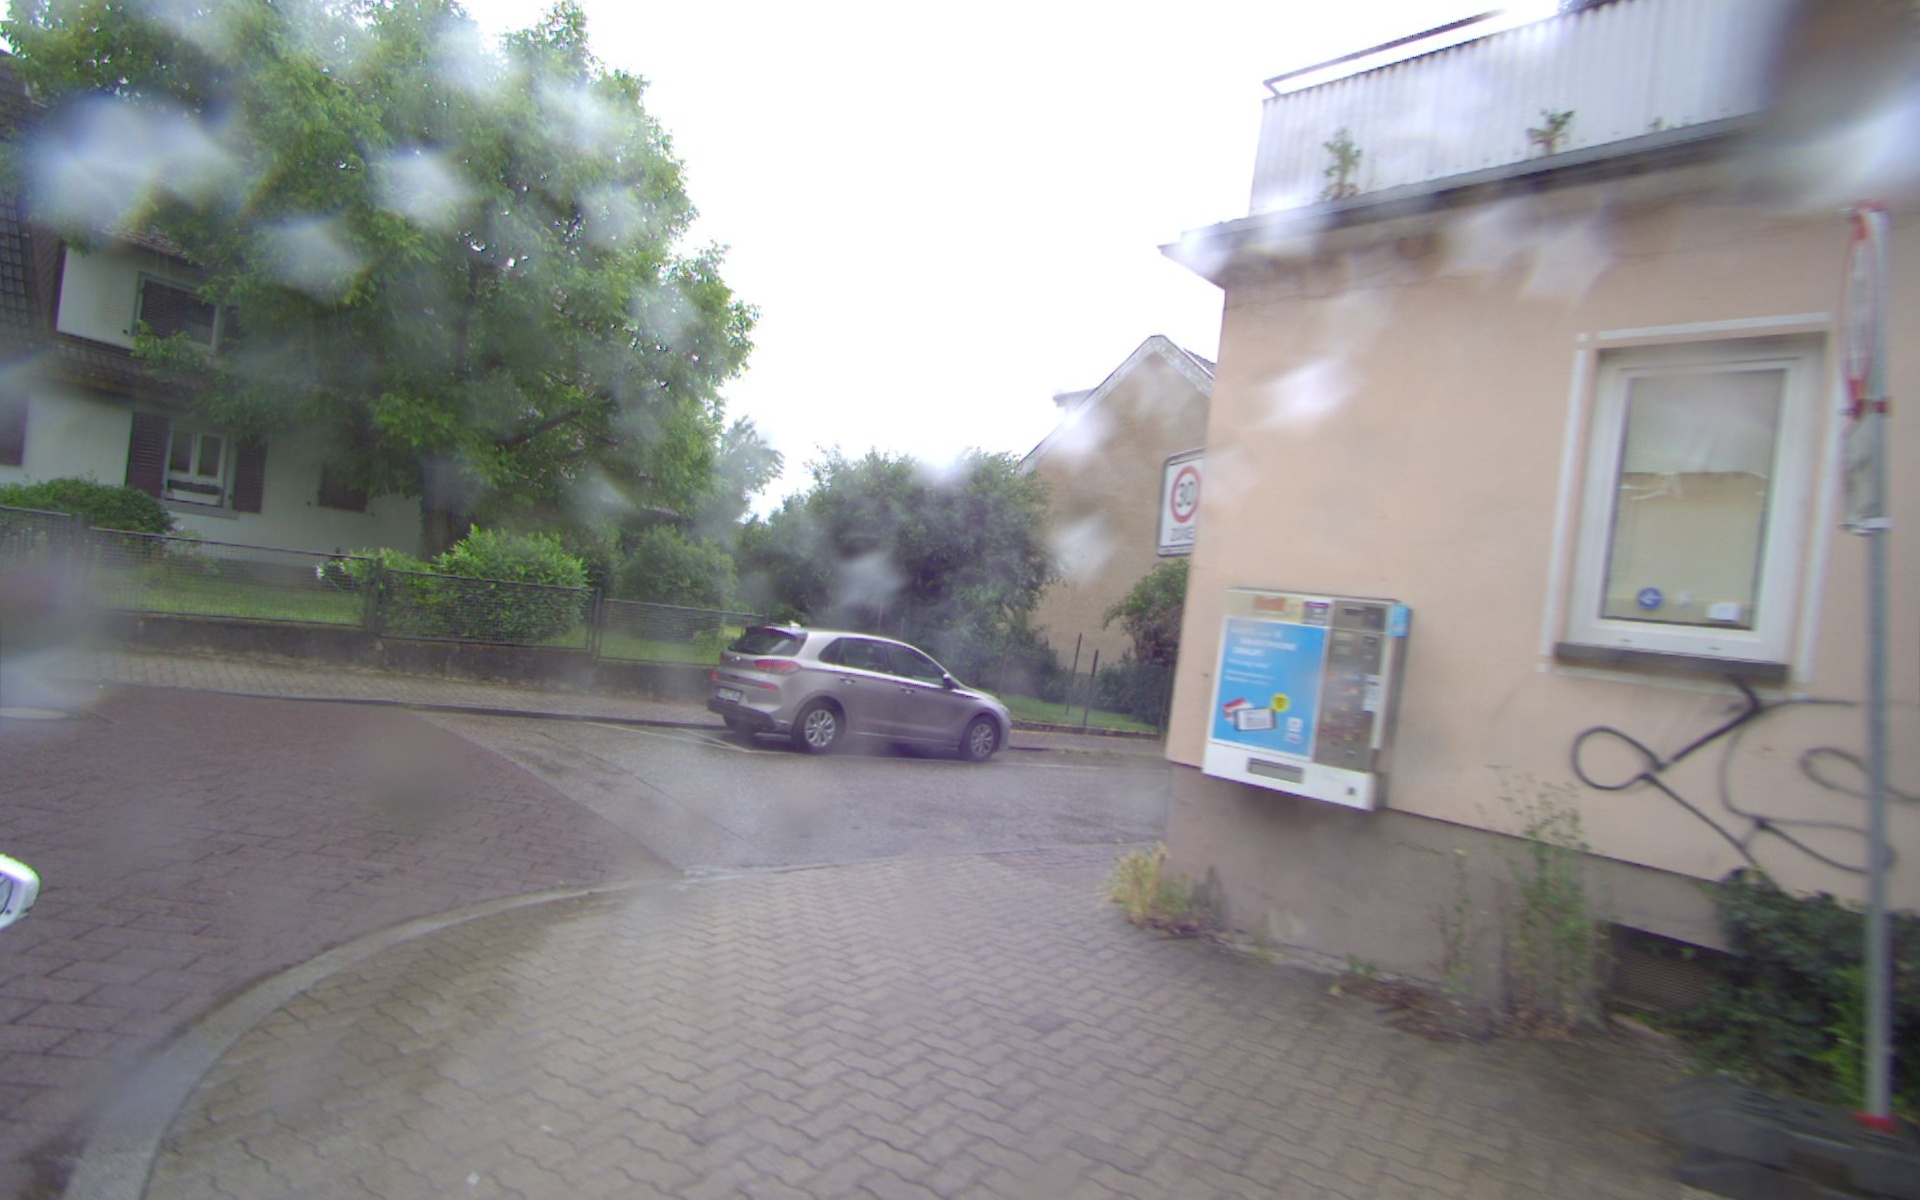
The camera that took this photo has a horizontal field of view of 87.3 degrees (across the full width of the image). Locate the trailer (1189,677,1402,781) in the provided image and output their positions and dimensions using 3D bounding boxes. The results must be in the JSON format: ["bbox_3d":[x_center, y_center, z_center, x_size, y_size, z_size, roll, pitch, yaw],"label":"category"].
[{"bbox_3d":[6.949,2.683,20.620,4.519,1.584,1.982,11,-4,-40],"label":"trailer"}]

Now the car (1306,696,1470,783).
[{"bbox_3d":[10.113,3.302,23.635,4.074,1.587,1.976,11,-4,-43],"label":"car"}]

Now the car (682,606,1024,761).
[{"bbox_3d":[-1.254,1.123,12.905,3.977,1.488,1.771,10,-3,-43],"label":"car"}]
